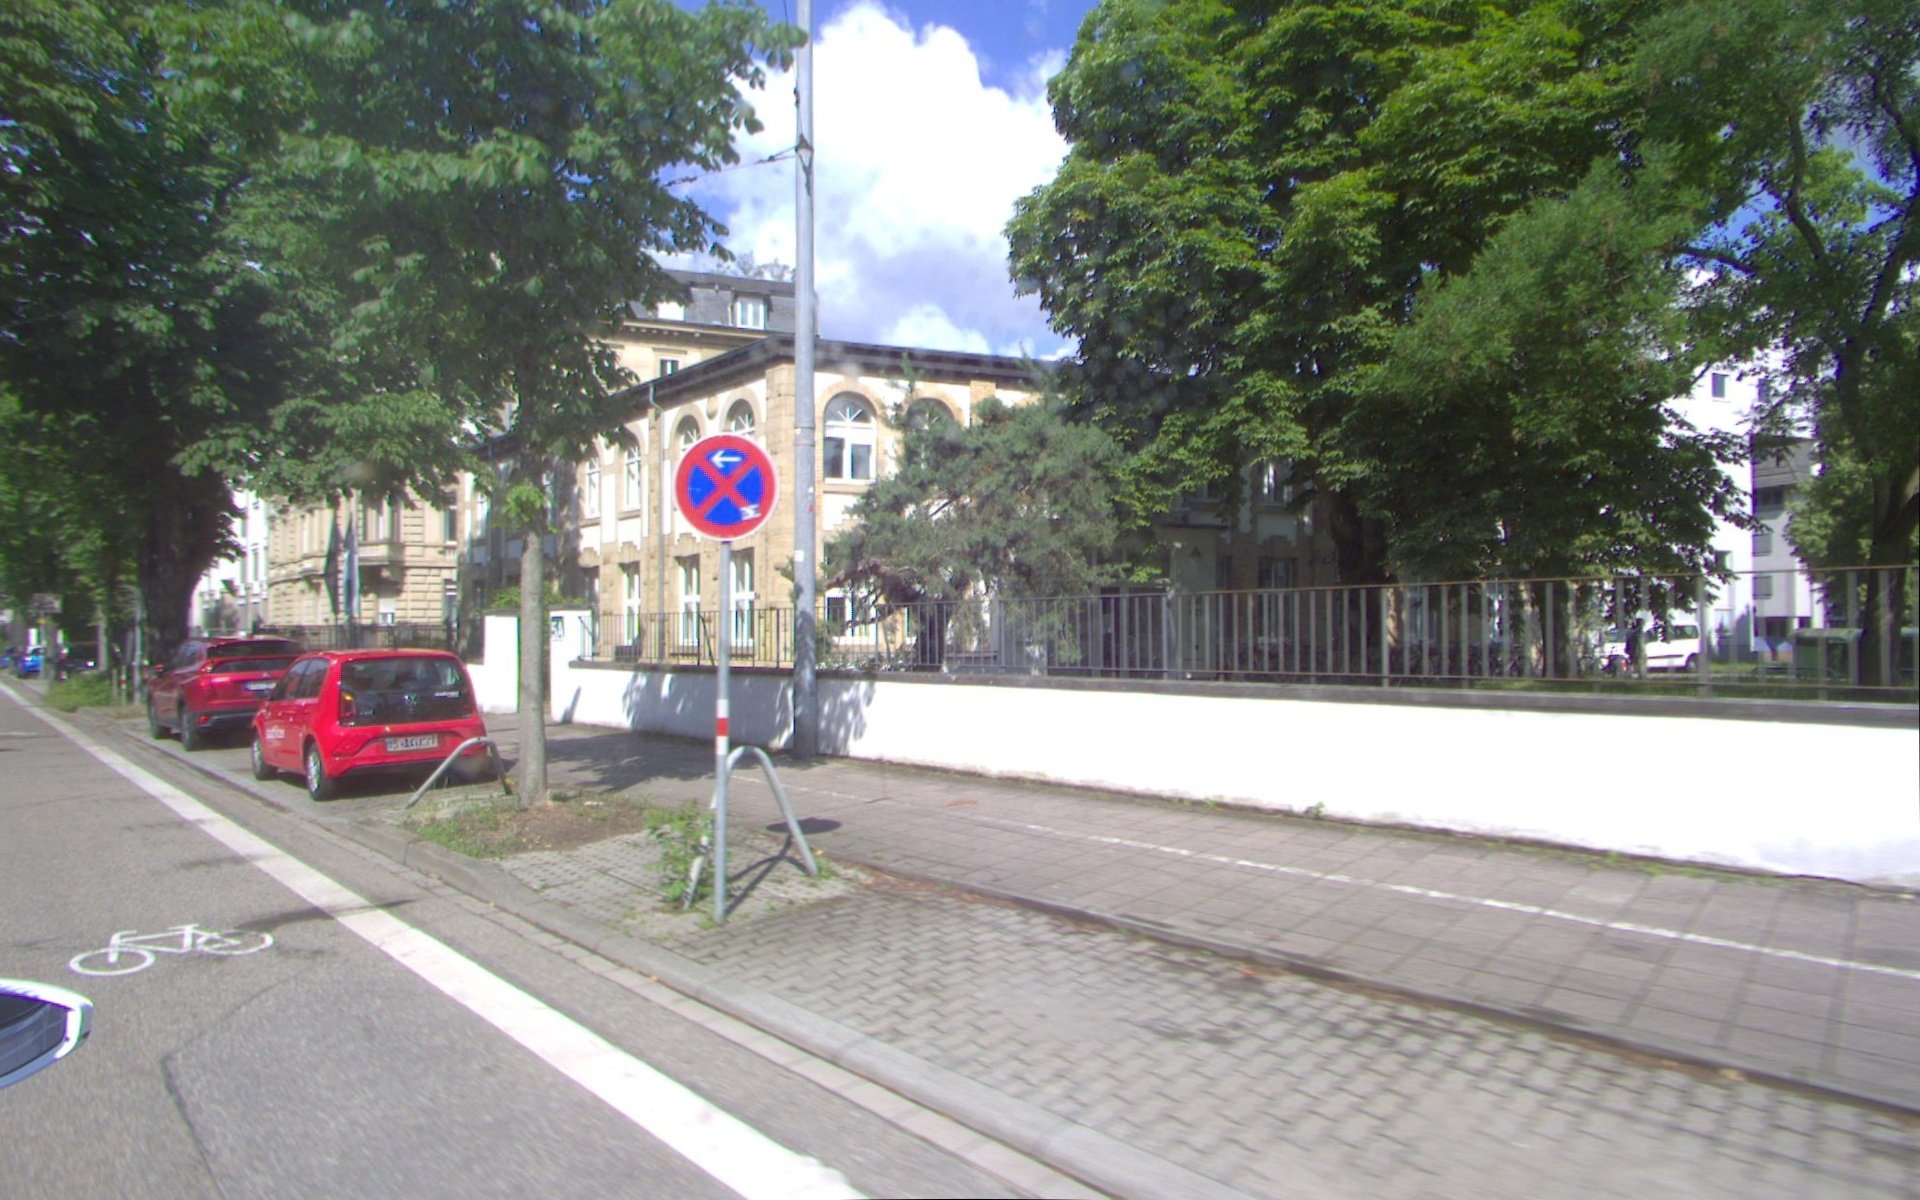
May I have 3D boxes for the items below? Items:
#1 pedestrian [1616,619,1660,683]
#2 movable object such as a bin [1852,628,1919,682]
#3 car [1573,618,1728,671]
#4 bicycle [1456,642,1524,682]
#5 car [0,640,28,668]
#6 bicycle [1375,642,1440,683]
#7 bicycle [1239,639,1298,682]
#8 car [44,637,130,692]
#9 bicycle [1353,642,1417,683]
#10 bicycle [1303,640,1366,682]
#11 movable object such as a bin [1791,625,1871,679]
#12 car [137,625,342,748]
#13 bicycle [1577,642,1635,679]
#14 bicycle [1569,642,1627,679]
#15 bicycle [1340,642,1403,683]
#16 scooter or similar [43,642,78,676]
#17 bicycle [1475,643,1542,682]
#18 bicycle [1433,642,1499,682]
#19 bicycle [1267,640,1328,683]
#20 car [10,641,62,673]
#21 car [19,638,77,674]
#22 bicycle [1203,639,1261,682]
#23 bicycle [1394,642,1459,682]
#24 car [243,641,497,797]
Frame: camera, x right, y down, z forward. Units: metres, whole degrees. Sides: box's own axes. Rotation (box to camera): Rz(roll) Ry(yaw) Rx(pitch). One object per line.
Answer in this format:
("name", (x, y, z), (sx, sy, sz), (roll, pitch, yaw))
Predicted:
("pedestrian", (17.743, 1.331, 26.198), (0.844, 1.644, 0.568), (1, -1, -22))
("movable object such as a bin", (22.086, 1.273, 23.614), (1.011, 1.236, 1.270), (0, -1, -21))
("car", (26.236, 1.662, 38.090), (5.000, 1.888, 2.036), (1, 1, -14))
("bicycle", (14.526, 1.686, 27.495), (0.420, 1.000, 1.816), (2, -2, -19))
("car", (-54.675, 3.080, 57.407), (3.808, 1.515, 1.614), (-2, -1, 44))
("bicycle", (11.816, 1.631, 26.477), (0.420, 1.000, 1.816), (2, -2, -19))
("bicycle", (7.754, 1.514, 25.244), (0.420, 1.000, 1.816), (2, -2, -19))
("car", (-28.326, 2.054, 32.450), (4.159, 1.611, 1.687), (-3, -2, 43))
("bicycle", (11.122, 1.616, 26.238), (0.420, 1.000, 1.816), (2, -2, -19))
("bicycle", (9.600, 1.561, 25.729), (0.420, 1.000, 1.816), (2, -2, -19))
("movable object such as a bin", (21.646, 1.271, 24.897), (0.987, 1.310, 1.188), (0, -1, -21))
("car", (-11.760, 1.296, 16.240), (4.235, 1.698, 1.866), (-2, -1, 42))
("bicycle", (18.524, 1.728, 28.747), (0.420, 1.000, 1.455), (2, -1, -19))
("bicycle", (18.048, 1.703, 28.350), (0.420, 1.000, 1.455), (2, -1, -18))
("bicycle", (10.652, 1.600, 25.979), (0.420, 1.000, 1.816), (2, -2, -19))
("scooter or similar", (-36.577, 2.394, 40.708), (1.160, 1.317, 0.441), (0, 2, 13))
("bicycle", (15.185, 1.723, 27.761), (0.420, 1.000, 1.816), (2, -2, -19))
("bicycle", (13.674, 1.659, 27.120), (0.420, 1.000, 1.816), (2, -2, -19))
("bicycle", (8.538, 1.540, 25.397), (0.420, 1.000, 1.816), (2, -2, -19))
("car", (-47.069, 2.882, 50.989), (3.717, 1.515, 1.631), (-2, -1, 42))
("car", (-41.470, 2.504, 45.506), (3.588, 1.515, 1.631), (-2, -1, 43))
("bicycle", (6.680, 1.477, 24.688), (0.420, 1.000, 1.816), (2, -2, -19))
("bicycle", (12.471, 1.636, 26.800), (0.420, 1.000, 1.816), (2, -2, -19))
("car", (-6.768, 1.212, 11.344), (3.559, 1.447, 1.591), (-2, -2, 44))
